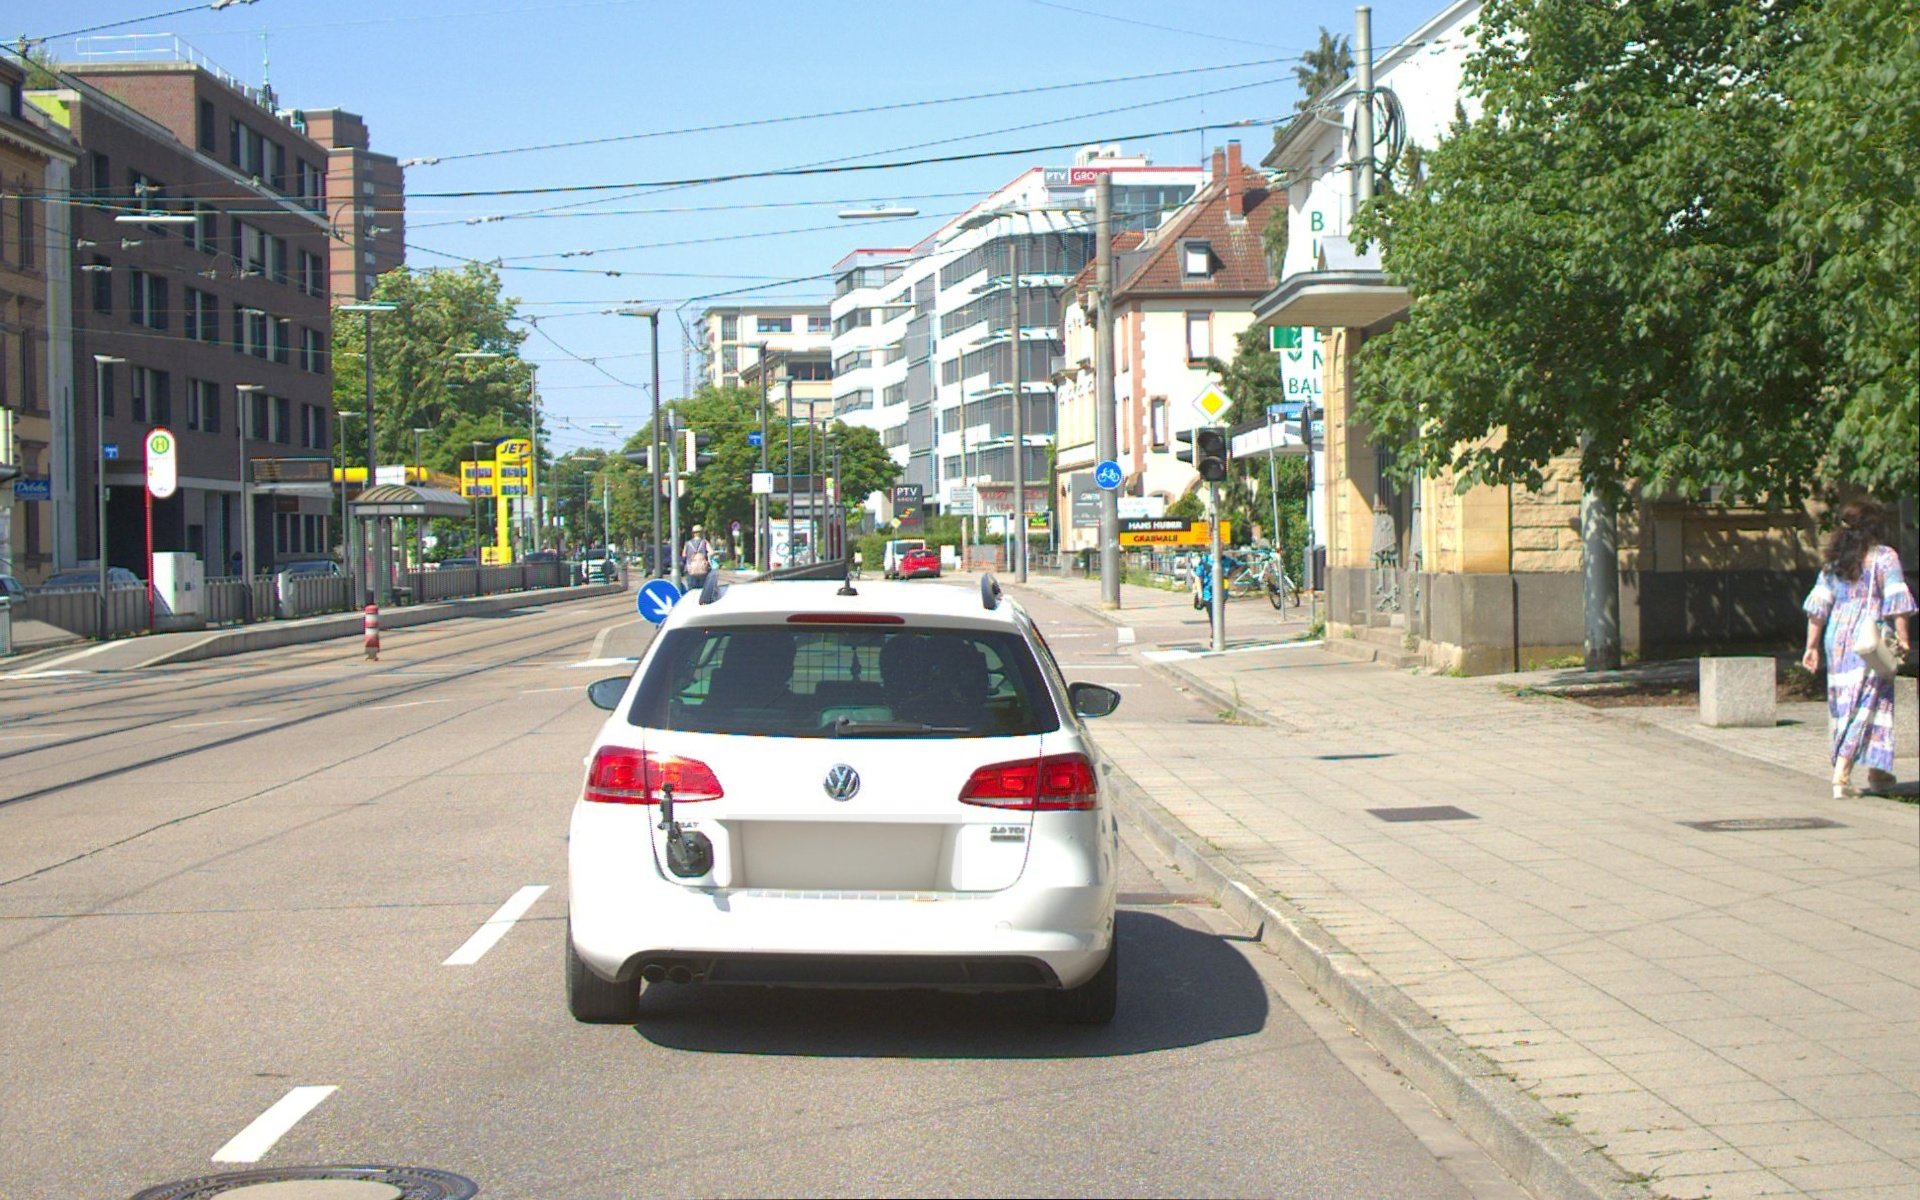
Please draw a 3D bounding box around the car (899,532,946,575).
[{"bbox_3d":[-1.860,-2.292,169.070,1.993,2.007,4.001,-1,1,-5],"label":"car"}]

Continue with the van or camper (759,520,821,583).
[{"bbox_3d":[-8.734,-2.512,177.087,2.943,3.169,6.614,-1,1,-1],"label":"van or camper"}]

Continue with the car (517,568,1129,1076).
[{"bbox_3d":[-0.403,0.629,11.937,1.753,1.413,3.853,-1,1,0],"label":"car"}]

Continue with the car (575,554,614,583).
[{"bbox_3d":[-18.985,-1.646,178.761,1.667,1.461,3.773,-1,1,-1],"label":"car"}]

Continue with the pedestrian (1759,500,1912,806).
[{"bbox_3d":[4.929,0.286,19.340,0.651,1.676,0.706,-1,1,29],"label":"pedestrian"}]

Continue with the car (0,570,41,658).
[{"bbox_3d":[-16.561,0.221,57.157,1.625,1.426,3.963,0,1,-2],"label":"car"}]

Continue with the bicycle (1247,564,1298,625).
[{"bbox_3d":[6.122,-0.121,67.281,0.726,1.135,2.193,-1,1,12],"label":"bicycle"}]

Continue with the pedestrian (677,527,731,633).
[{"bbox_3d":[-4.414,-0.344,59.301,0.826,1.803,0.833,-1,1,0],"label":"pedestrian"}]

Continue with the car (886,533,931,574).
[{"bbox_3d":[-2.630,-2.356,174.487,1.993,2.007,4.001,-1,1,-5],"label":"car"}]

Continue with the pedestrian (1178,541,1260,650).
[{"bbox_3d":[3.641,-0.063,48.352,0.855,1.505,0.782,-1,1,-22],"label":"pedestrian"}]

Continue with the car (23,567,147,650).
[{"bbox_3d":[-16.487,0.143,64.911,1.572,1.454,3.815,-1,1,-4],"label":"car"}]
